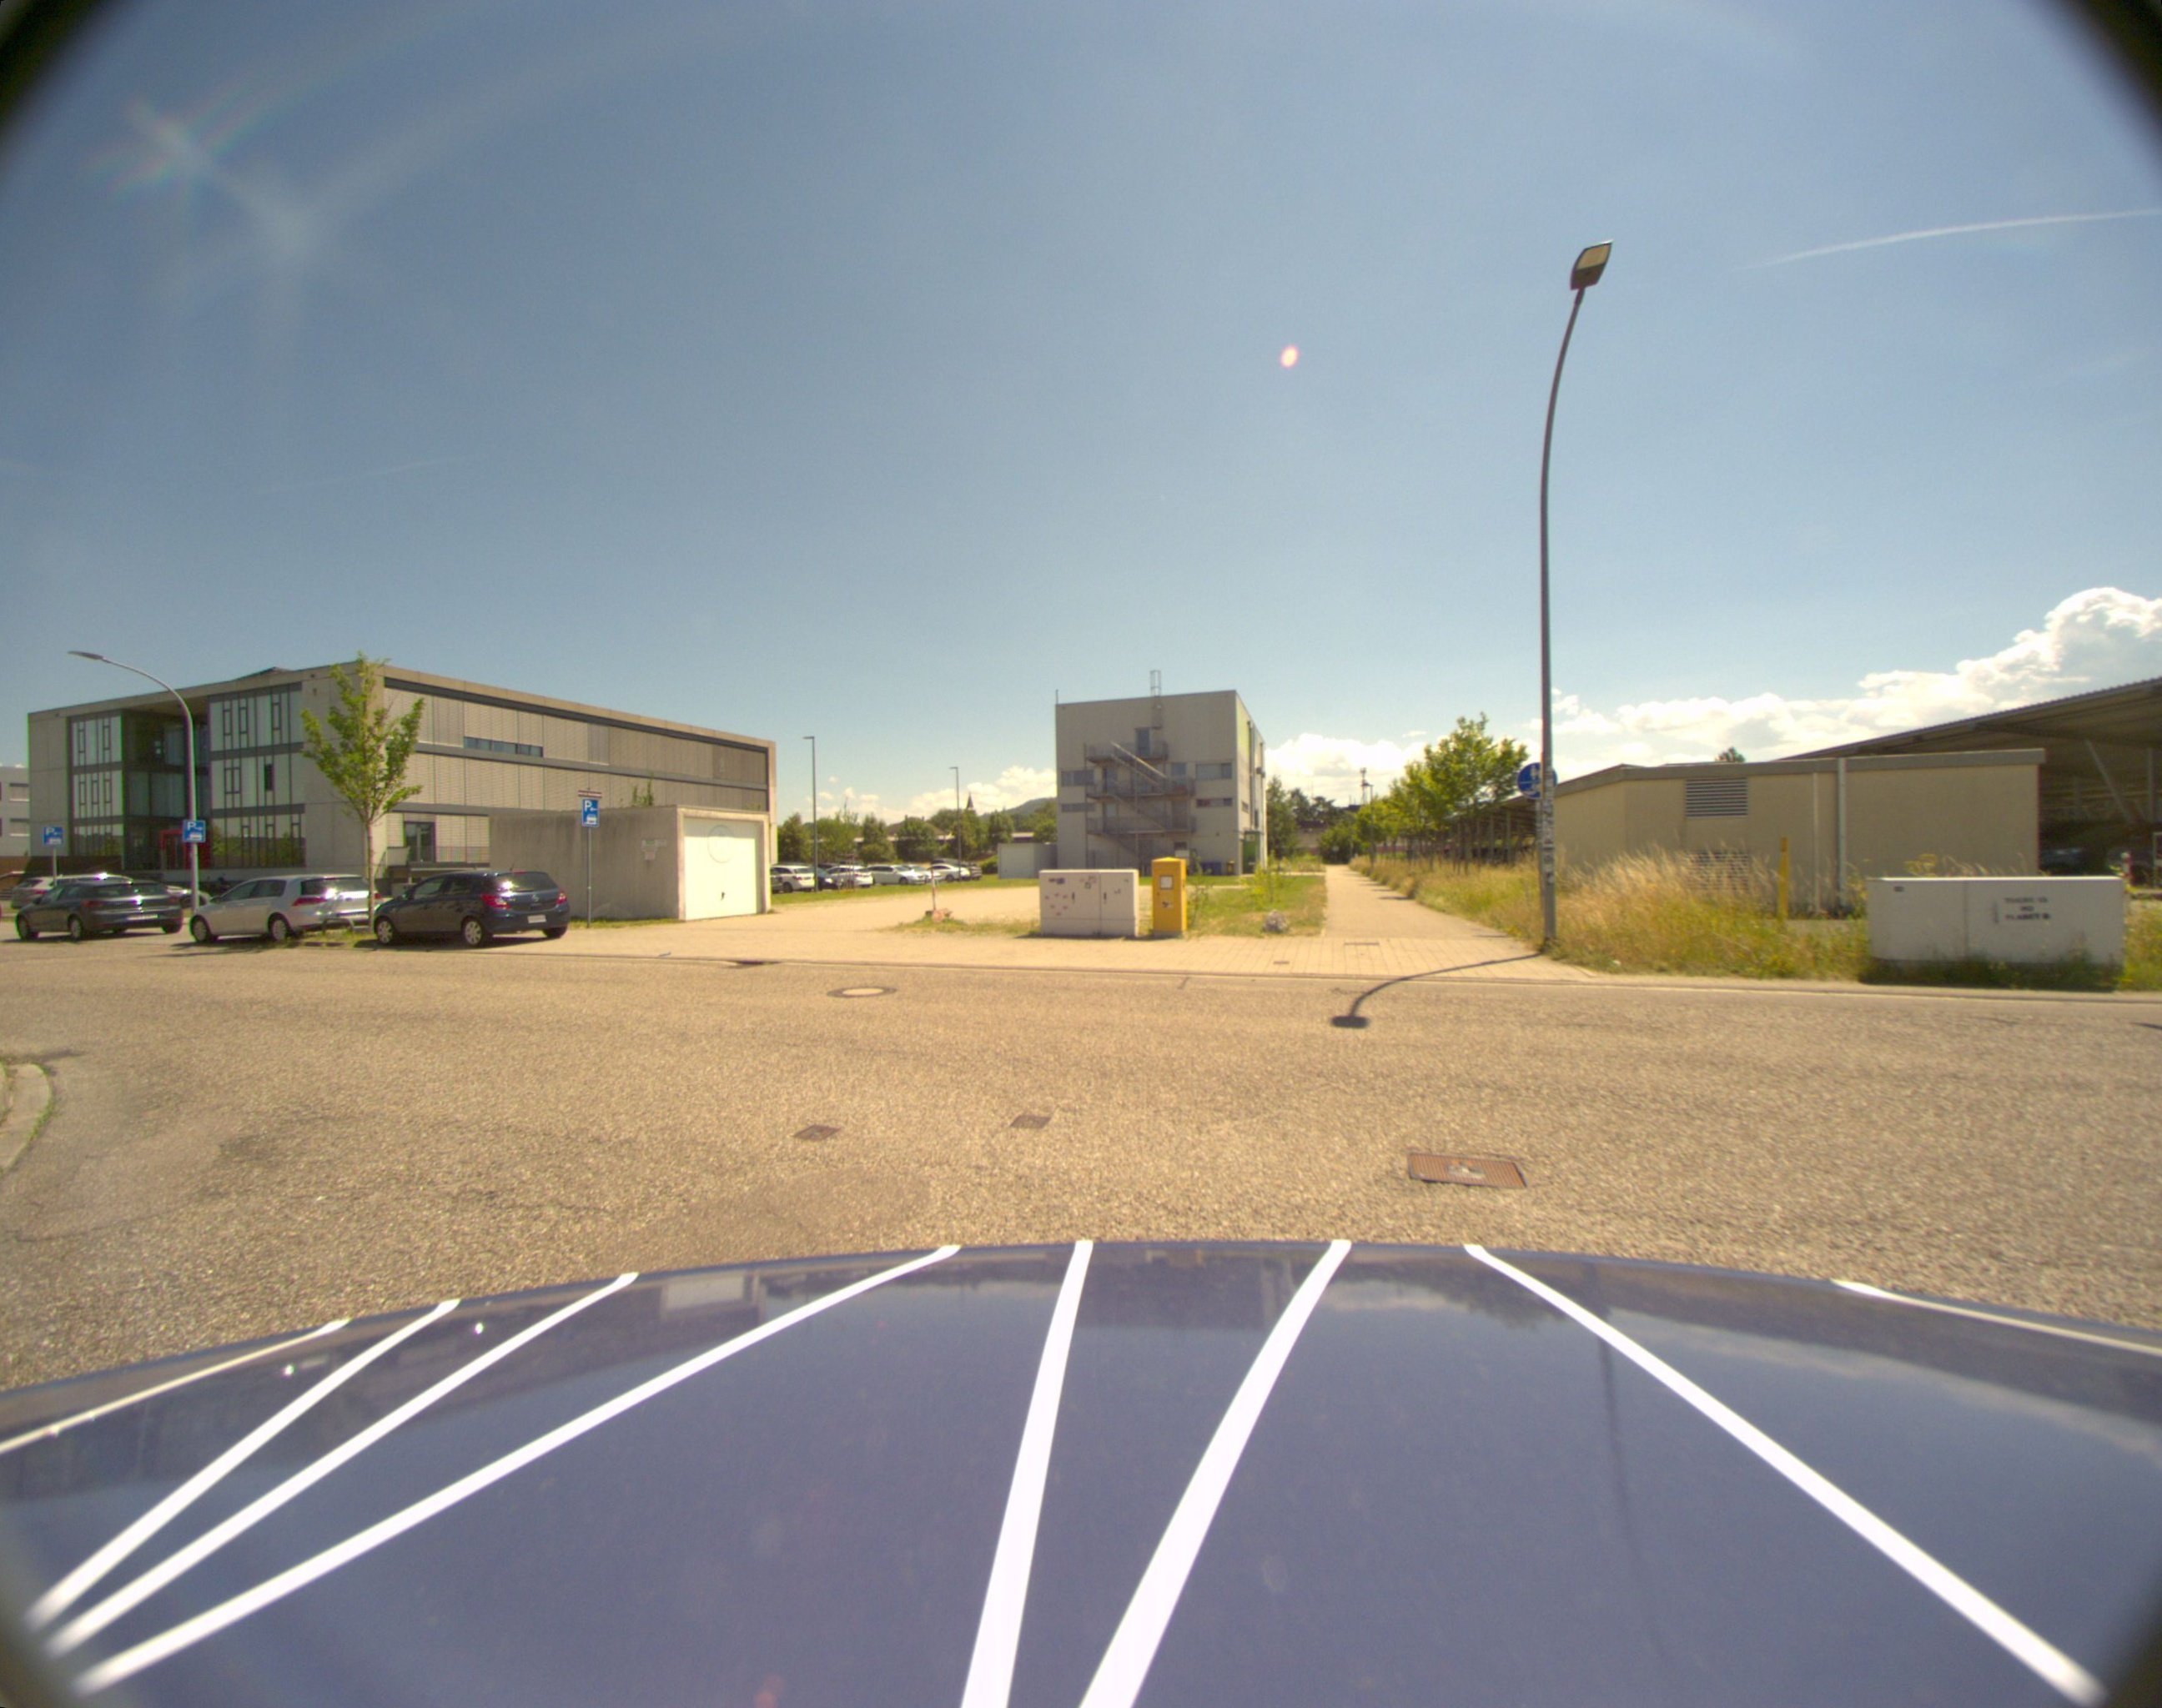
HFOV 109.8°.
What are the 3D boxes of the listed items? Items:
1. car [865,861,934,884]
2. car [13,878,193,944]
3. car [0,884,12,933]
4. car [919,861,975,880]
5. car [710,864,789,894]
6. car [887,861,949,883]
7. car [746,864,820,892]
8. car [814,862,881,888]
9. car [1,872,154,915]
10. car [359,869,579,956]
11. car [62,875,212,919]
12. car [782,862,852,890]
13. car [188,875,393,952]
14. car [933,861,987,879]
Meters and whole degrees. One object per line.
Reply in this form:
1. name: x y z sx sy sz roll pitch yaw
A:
1. car: -12.589 1.293 52.730 4.362 1.458 1.711 -1 1 19
2. car: -25.046 1.426 19.479 3.620 1.461 1.660 -1 2 19
3. car: -34.622 1.717 22.949 3.620 1.461 1.660 -1 2 19
4. car: -10.565 1.307 59.863 4.048 1.417 1.661 -1 1 19
5. car: -17.561 1.331 40.243 3.620 1.492 1.661 -1 1 19
6. car: -11.810 1.303 55.093 4.048 1.458 1.661 -1 1 19
7. car: -16.689 1.355 42.580 3.620 1.492 1.661 -1 1 19
8. car: -14.563 1.298 47.410 3.620 1.492 1.661 -1 1 19
9. car: -42.654 1.625 32.440 1.658 1.461 3.626 -2 2 -2
10. car: -12.299 1.123 15.313 3.620 1.492 1.685 -1 2 19
11. car: -39.109 1.729 31.617 1.658 1.461 3.626 -2 2 -2
12. car: -15.593 1.301 44.890 3.620 1.526 1.661 -1 1 19
13. car: -17.730 1.300 17.087 3.621 1.492 1.660 -1 2 17
14. car: -10.052 1.311 63.179 4.048 1.379 1.661 -1 1 19
